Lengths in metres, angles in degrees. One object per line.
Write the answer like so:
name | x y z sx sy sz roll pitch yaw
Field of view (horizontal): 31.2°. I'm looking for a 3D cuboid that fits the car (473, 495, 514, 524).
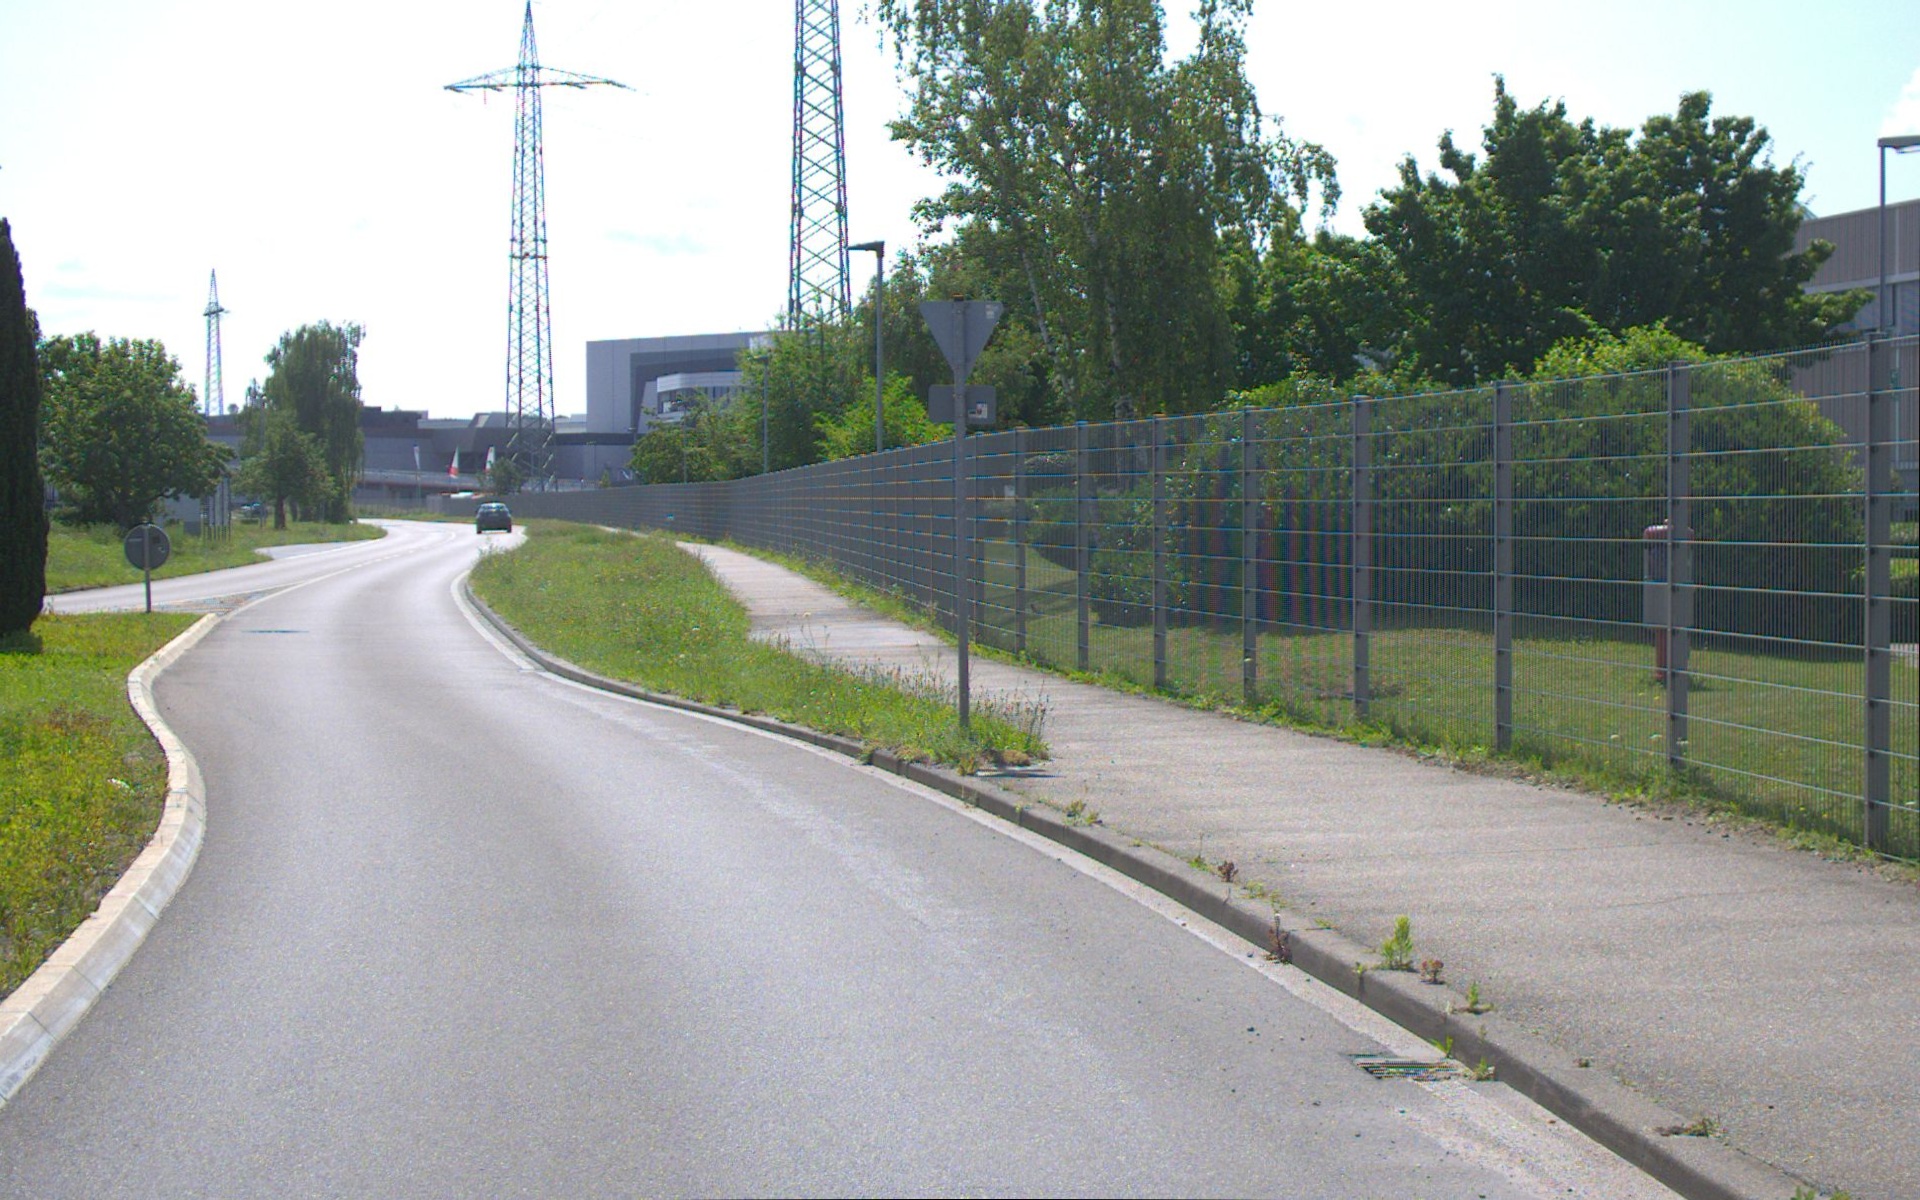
car | -24.178 -4.673 178.192 2.011 1.503 4.001 0 1 -9
